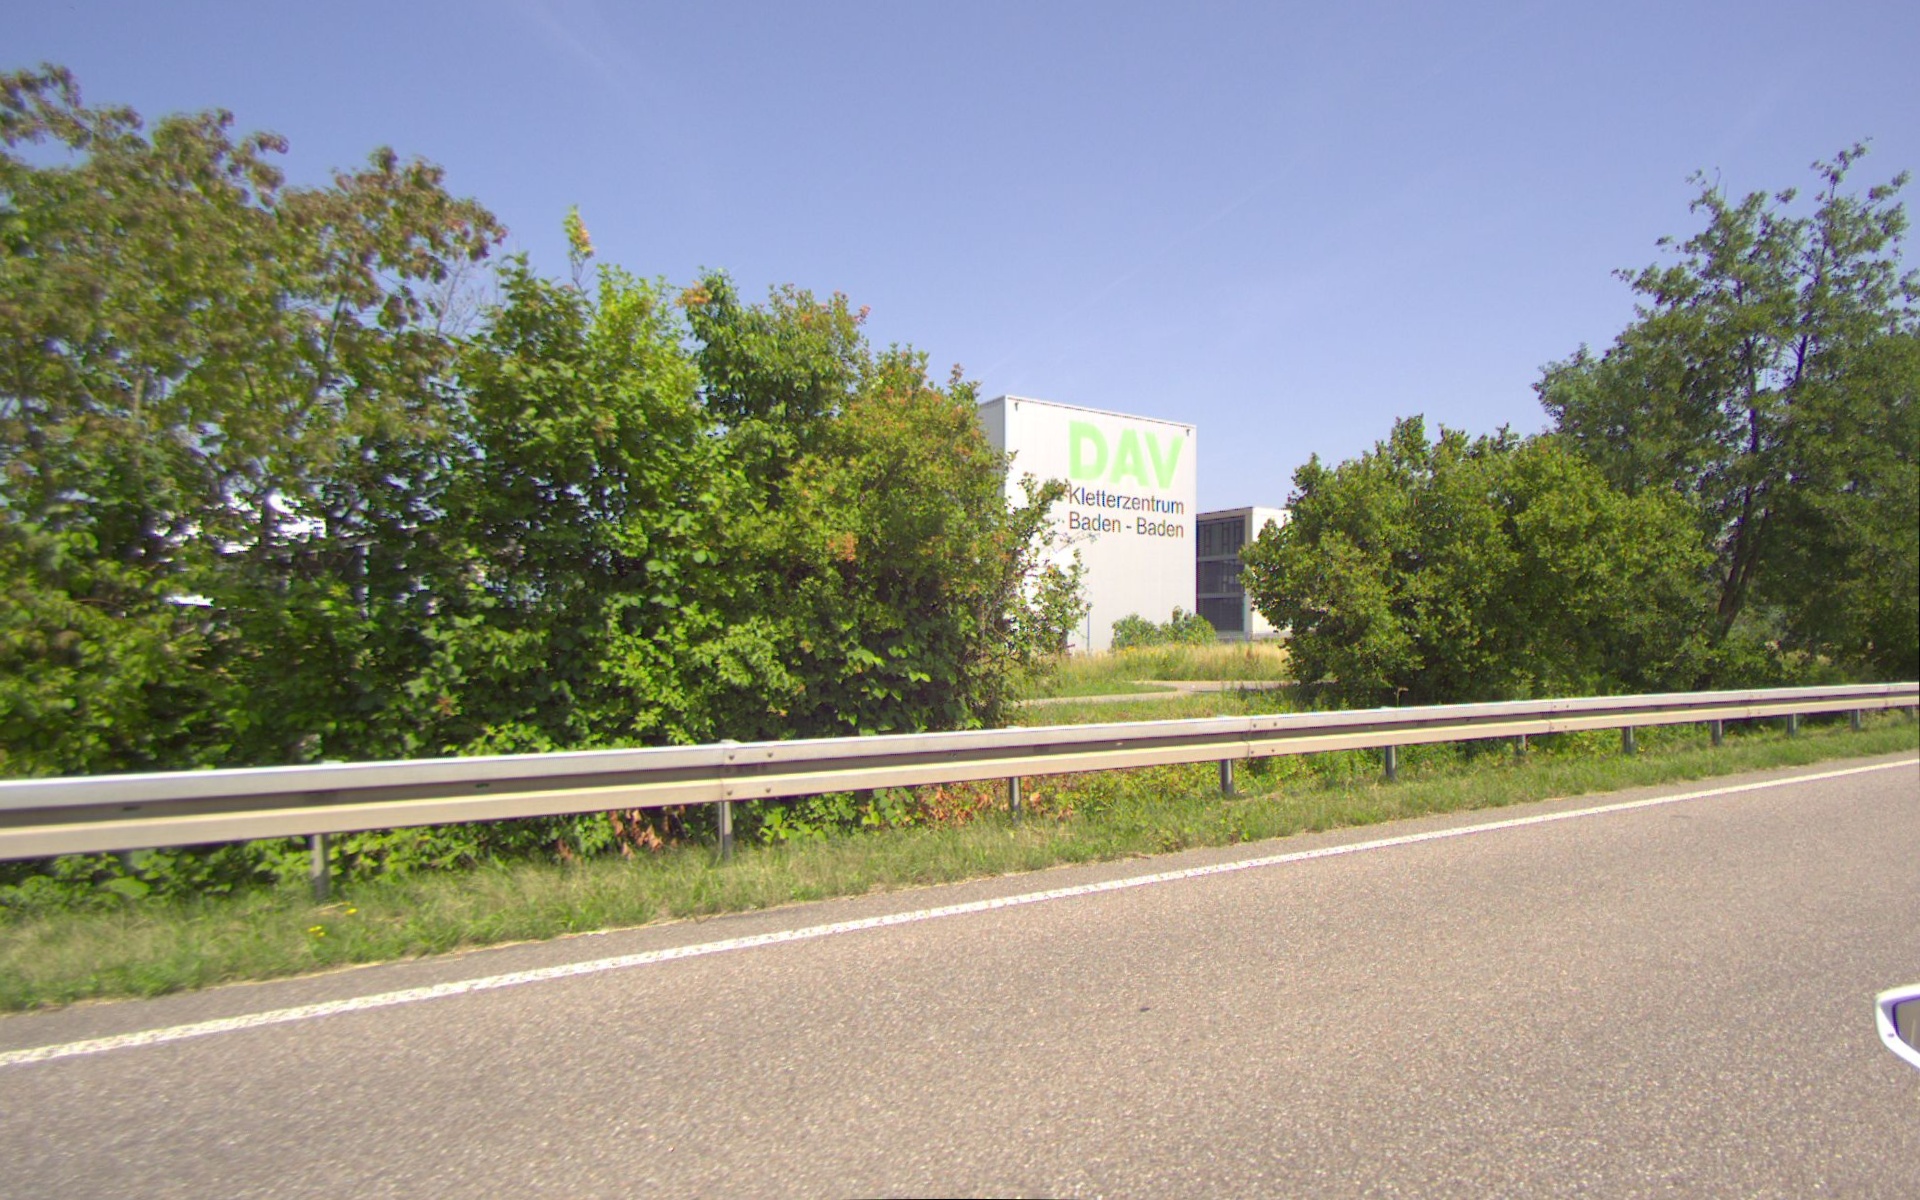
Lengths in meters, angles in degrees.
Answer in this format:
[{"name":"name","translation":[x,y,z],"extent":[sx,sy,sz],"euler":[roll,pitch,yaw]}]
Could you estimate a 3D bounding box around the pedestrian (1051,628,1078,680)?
[{"name":"pedestrian","translation":[3.697,1.899,35.572],"extent":[0.918,1.772,0.719],"euler":[1,0,2]}]
